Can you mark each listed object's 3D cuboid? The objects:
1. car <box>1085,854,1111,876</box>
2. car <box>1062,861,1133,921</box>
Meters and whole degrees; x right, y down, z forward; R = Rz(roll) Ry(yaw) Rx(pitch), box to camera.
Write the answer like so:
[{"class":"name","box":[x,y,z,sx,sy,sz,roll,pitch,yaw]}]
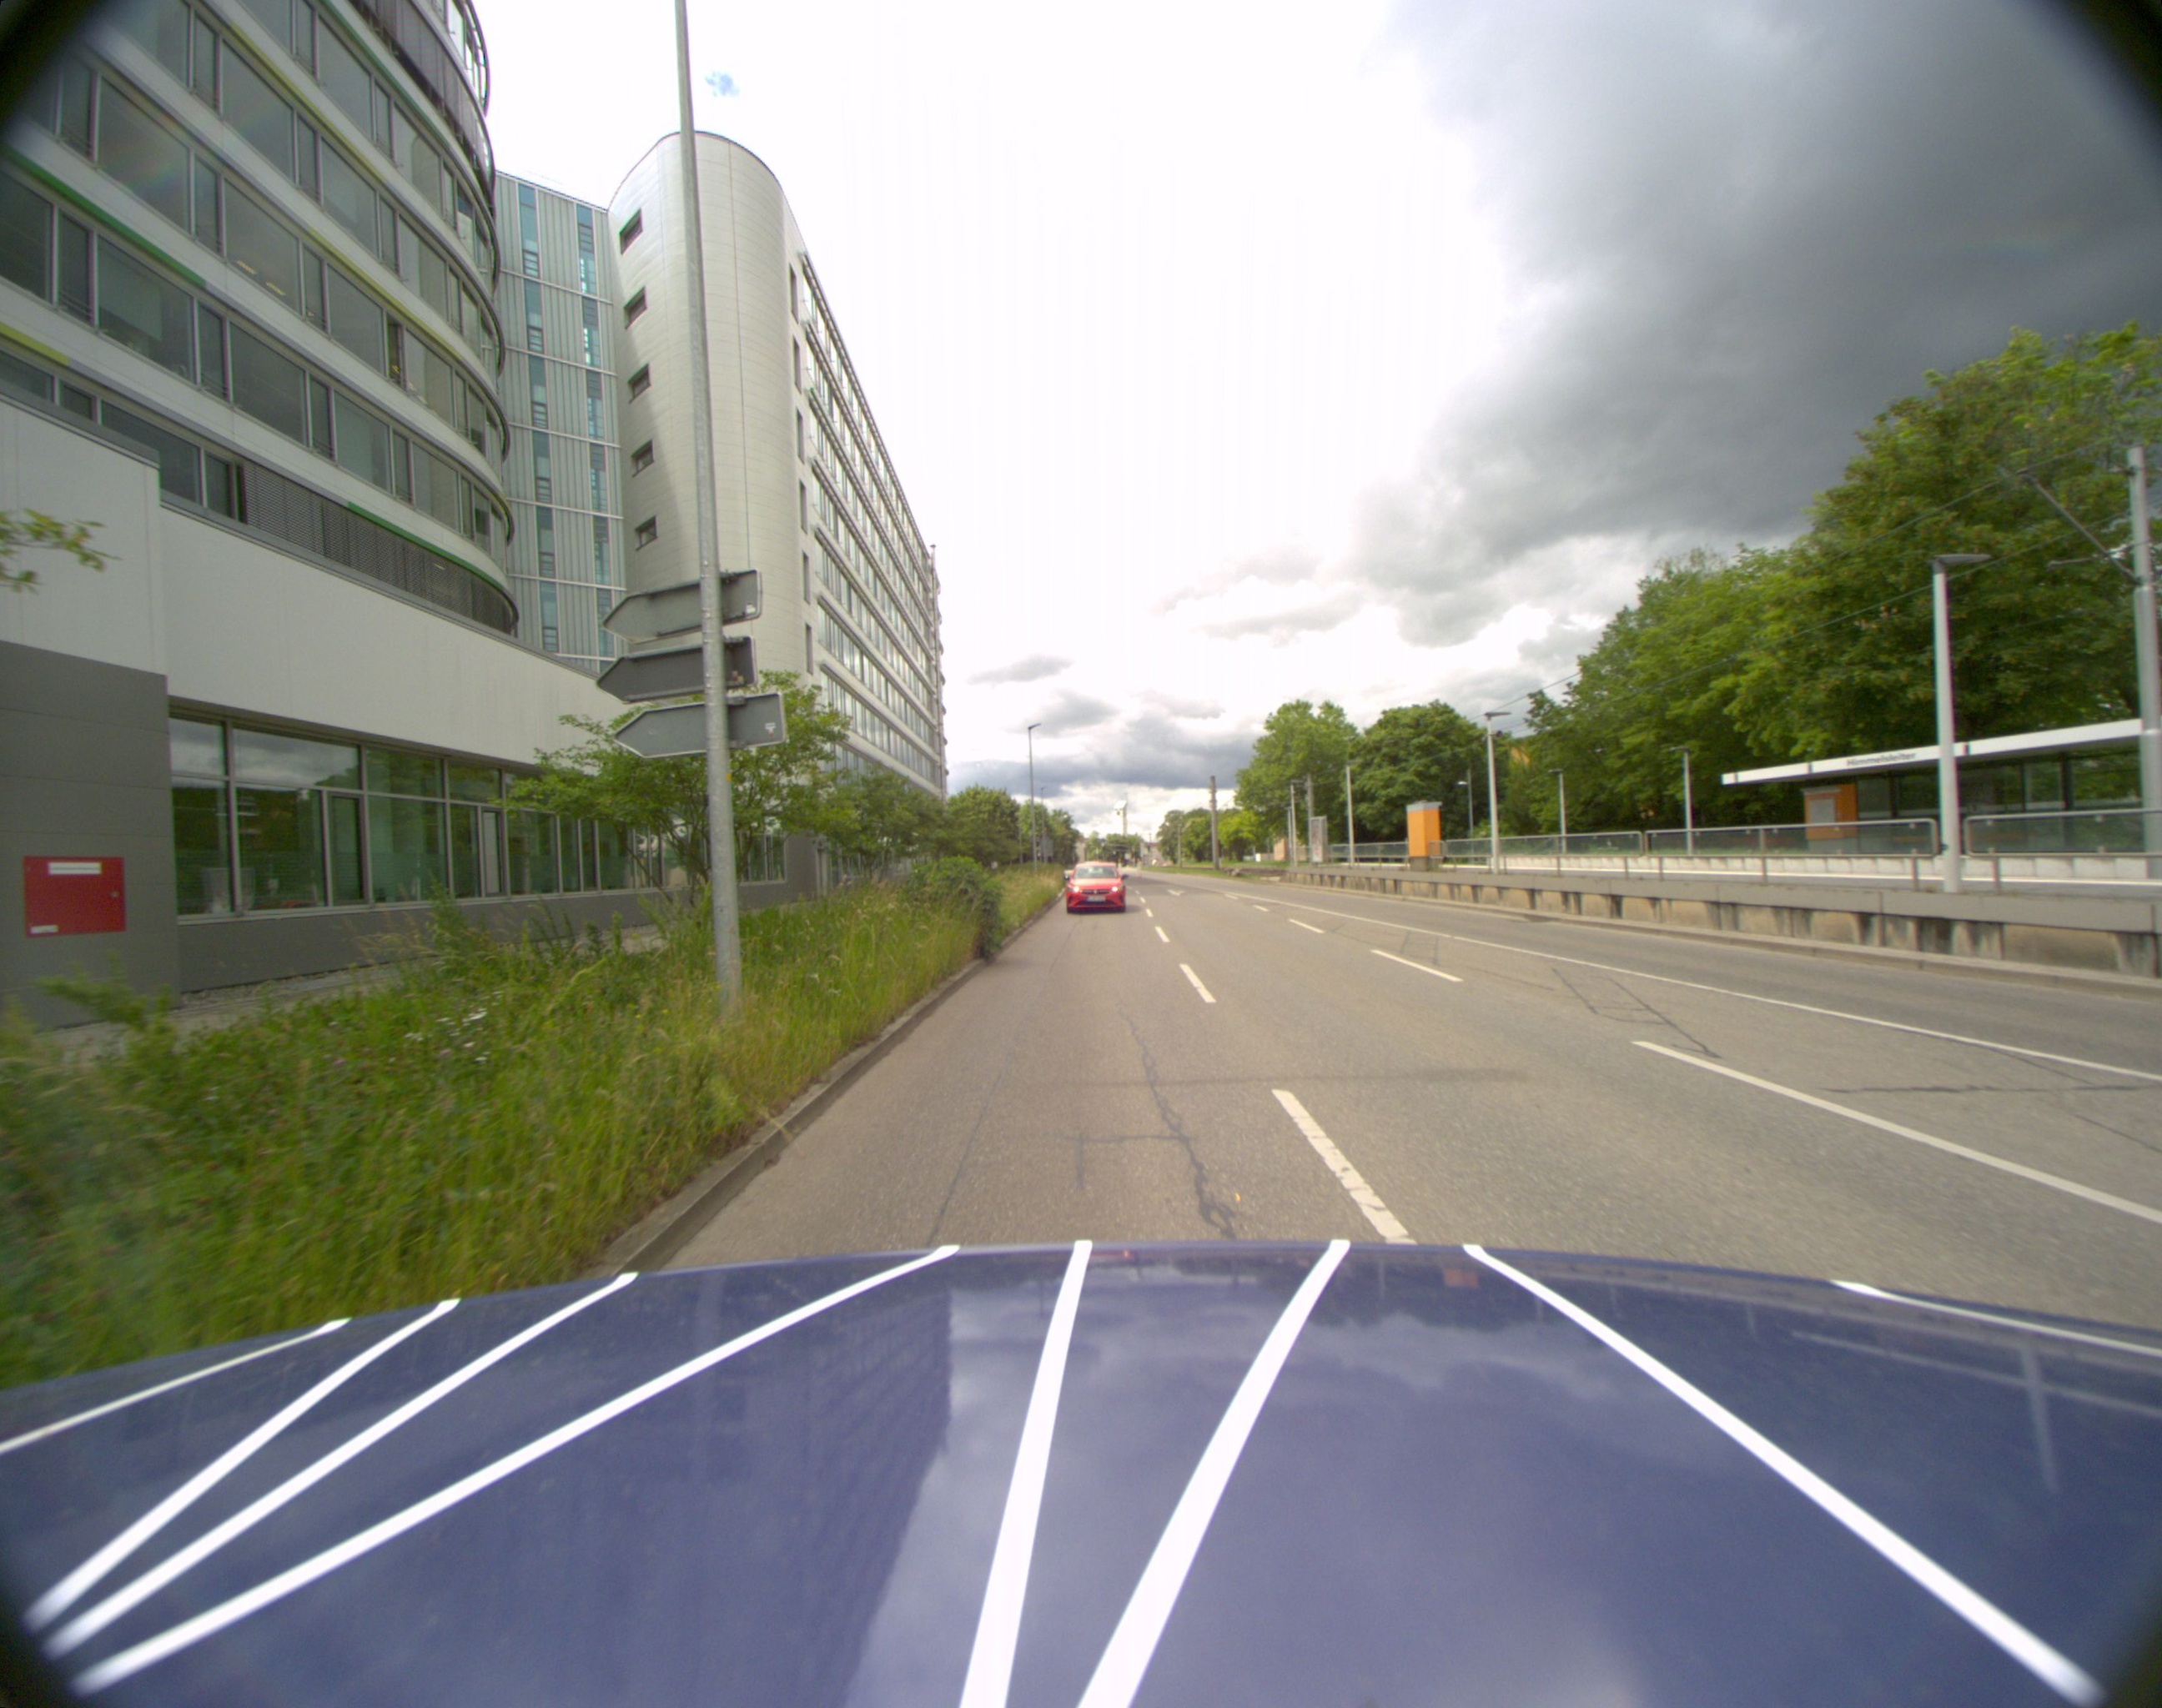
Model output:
[{"class":"car","box":[1.292,0.809,57.774,1.841,1.586,4.000,-2,0,2]},{"class":"car","box":[0.450,0.986,22.307,1.790,1.453,4.853,-2,0,0]}]
